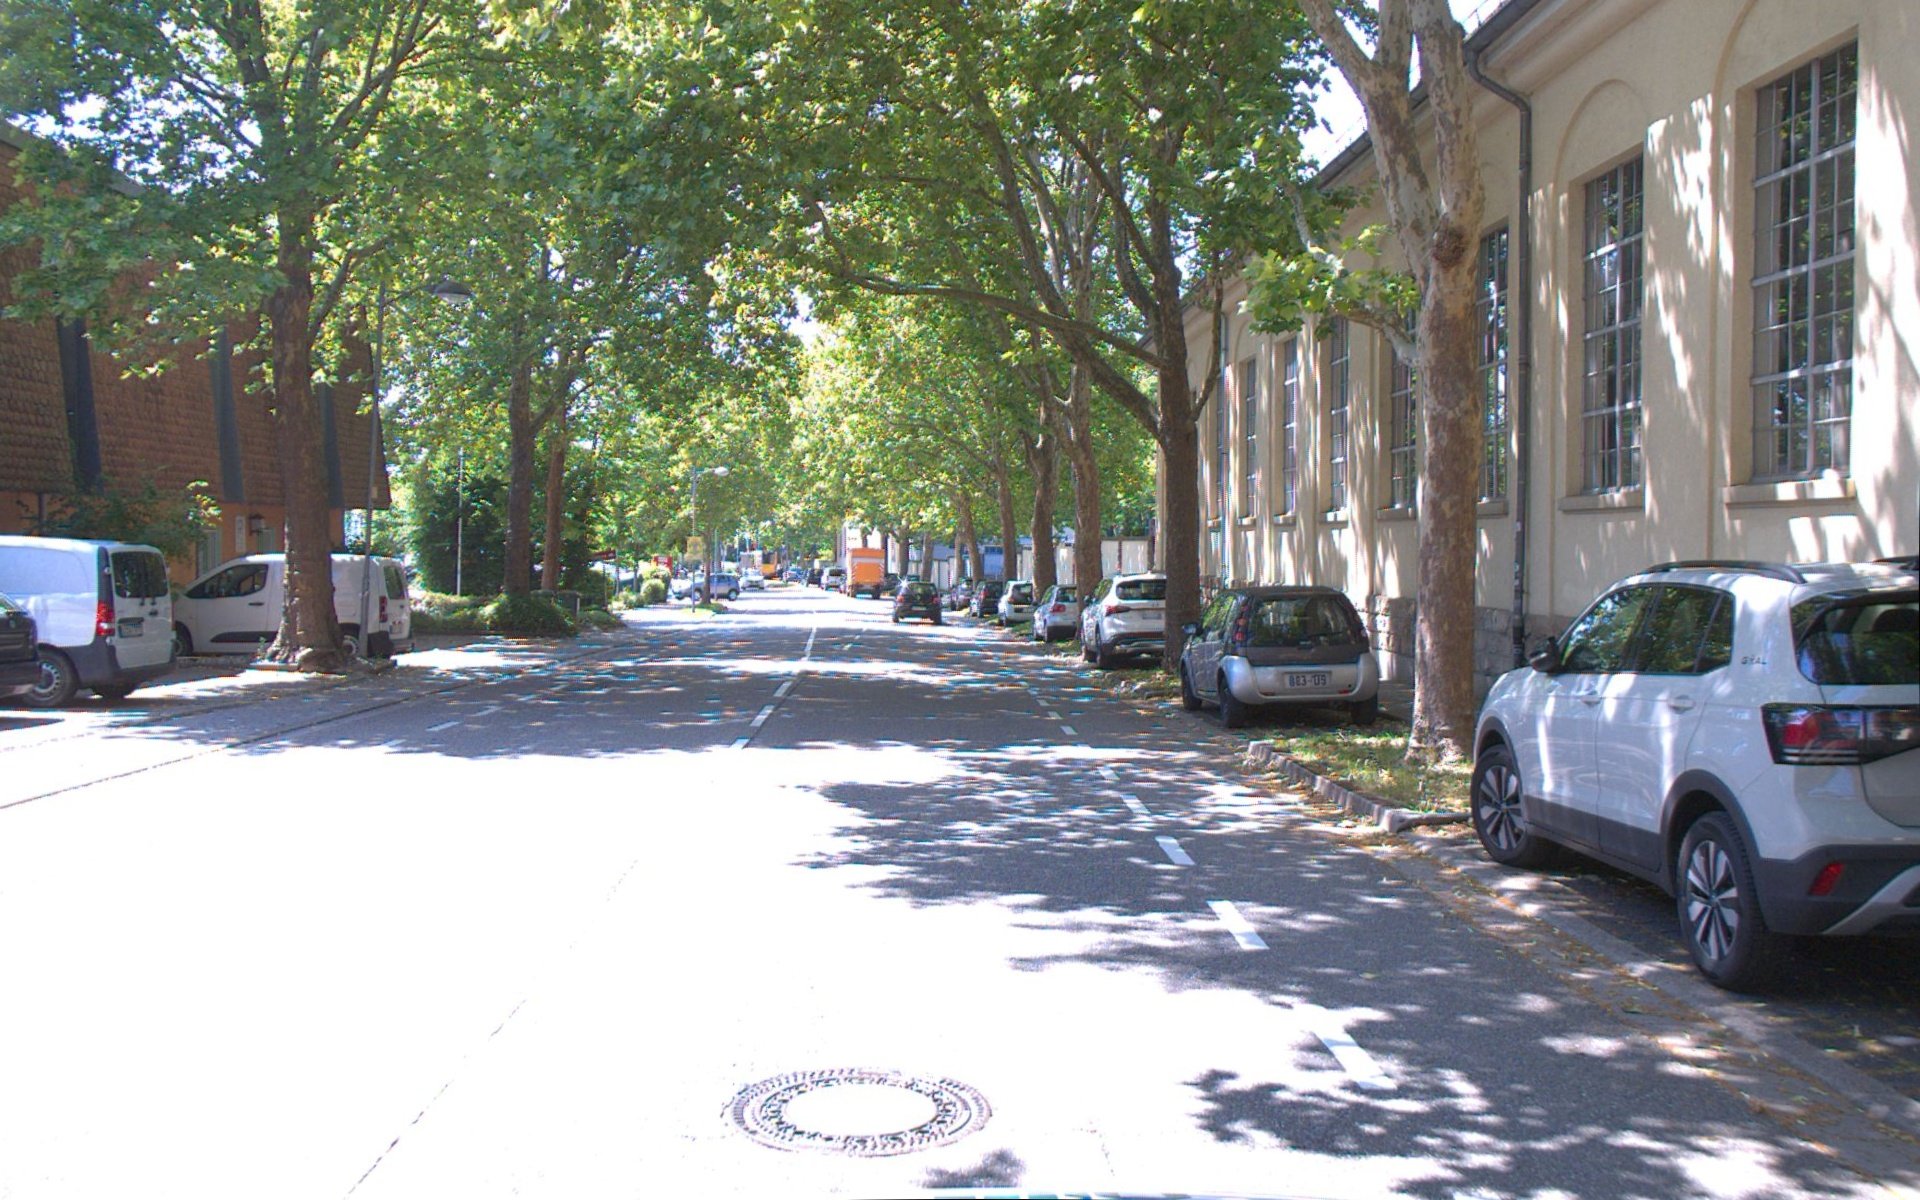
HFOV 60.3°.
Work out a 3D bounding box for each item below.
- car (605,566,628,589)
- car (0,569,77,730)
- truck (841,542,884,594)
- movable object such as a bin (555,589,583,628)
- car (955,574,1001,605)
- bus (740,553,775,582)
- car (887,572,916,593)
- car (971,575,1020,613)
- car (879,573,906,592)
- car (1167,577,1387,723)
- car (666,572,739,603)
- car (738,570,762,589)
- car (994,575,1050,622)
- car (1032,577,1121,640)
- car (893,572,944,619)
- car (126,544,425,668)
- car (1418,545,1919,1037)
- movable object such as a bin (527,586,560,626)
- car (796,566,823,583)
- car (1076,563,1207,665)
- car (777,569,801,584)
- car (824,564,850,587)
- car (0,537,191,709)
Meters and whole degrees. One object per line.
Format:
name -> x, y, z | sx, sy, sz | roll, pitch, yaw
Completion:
car -> -31.622, -2.062, 152.285 | 1.960, 2.049, 3.985 | 0, -1, -14
car -> -11.188, 0.416, 16.292 | 3.909, 1.542, 1.867 | 2, 0, -5
truck -> -6.320, -2.019, 106.539 | 2.326, 3.189, 5.759 | 0, -1, -8
movable object such as a bin -> -10.684, 0.226, 45.210 | 0.611, 1.066, 0.620 | 0, 0, -1
car -> 0.809, -0.514, 78.318 | 1.733, 1.398, 3.725 | -1, 1, -6
bus -> -23.150, -3.647, 188.546 | 2.618, 3.205, 11.157 | -1, 0, -14
car -> -4.088, -1.222, 114.342 | 1.732, 1.398, 3.725 | 0, 0, -6
car -> 1.451, -0.266, 68.697 | 1.731, 1.491, 3.873 | -1, 1, -3
car -> -5.175, -1.370, 126.507 | 1.733, 1.398, 3.725 | -1, 1, -6
car -> 3.550, 0.491, 19.279 | 1.588, 1.465, 4.431 | -1, 1, -2
car -> -14.787, -0.722, 95.146 | 1.959, 1.695, 3.986 | -1, -1, 34
car -> -16.473, -1.579, 129.934 | 1.678, 1.473, 4.053 | -1, 0, -5
car -> 2.075, -0.075, 56.232 | 1.546, 1.491, 3.873 | -1, 1, -3
car -> 2.883, 0.185, 41.635 | 1.731, 1.458, 3.873 | -1, 1, -3
car -> -1.477, -0.172, 57.991 | 1.677, 1.472, 4.056 | -1, 2, -3
car -> -11.060, 0.092, 26.970 | 4.047, 1.836, 1.901 | 2, 0, -5
car -> 3.697, 0.559, 7.809 | 1.705, 1.584, 4.780 | -2, 1, 0
movable object such as a bin -> -11.364, 0.159, 45.157 | 0.720, 1.097, 0.701 | 0, 1, -2
car -> -13.150, -2.236, 144.065 | 1.737, 1.398, 3.716 | -1, 1, -14
car -> 3.311, 0.221, 31.026 | 1.771, 1.718, 4.750 | -1, 1, -2
car -> -16.466, -2.236, 159.241 | 1.736, 1.398, 3.717 | -1, 1, -14
car -> -9.637, -1.877, 129.482 | 1.843, 1.715, 3.994 | 0, -1, -6
car -> -11.379, 0.203, 18.802 | 4.336, 1.836, 1.901 | 2, 0, -5
